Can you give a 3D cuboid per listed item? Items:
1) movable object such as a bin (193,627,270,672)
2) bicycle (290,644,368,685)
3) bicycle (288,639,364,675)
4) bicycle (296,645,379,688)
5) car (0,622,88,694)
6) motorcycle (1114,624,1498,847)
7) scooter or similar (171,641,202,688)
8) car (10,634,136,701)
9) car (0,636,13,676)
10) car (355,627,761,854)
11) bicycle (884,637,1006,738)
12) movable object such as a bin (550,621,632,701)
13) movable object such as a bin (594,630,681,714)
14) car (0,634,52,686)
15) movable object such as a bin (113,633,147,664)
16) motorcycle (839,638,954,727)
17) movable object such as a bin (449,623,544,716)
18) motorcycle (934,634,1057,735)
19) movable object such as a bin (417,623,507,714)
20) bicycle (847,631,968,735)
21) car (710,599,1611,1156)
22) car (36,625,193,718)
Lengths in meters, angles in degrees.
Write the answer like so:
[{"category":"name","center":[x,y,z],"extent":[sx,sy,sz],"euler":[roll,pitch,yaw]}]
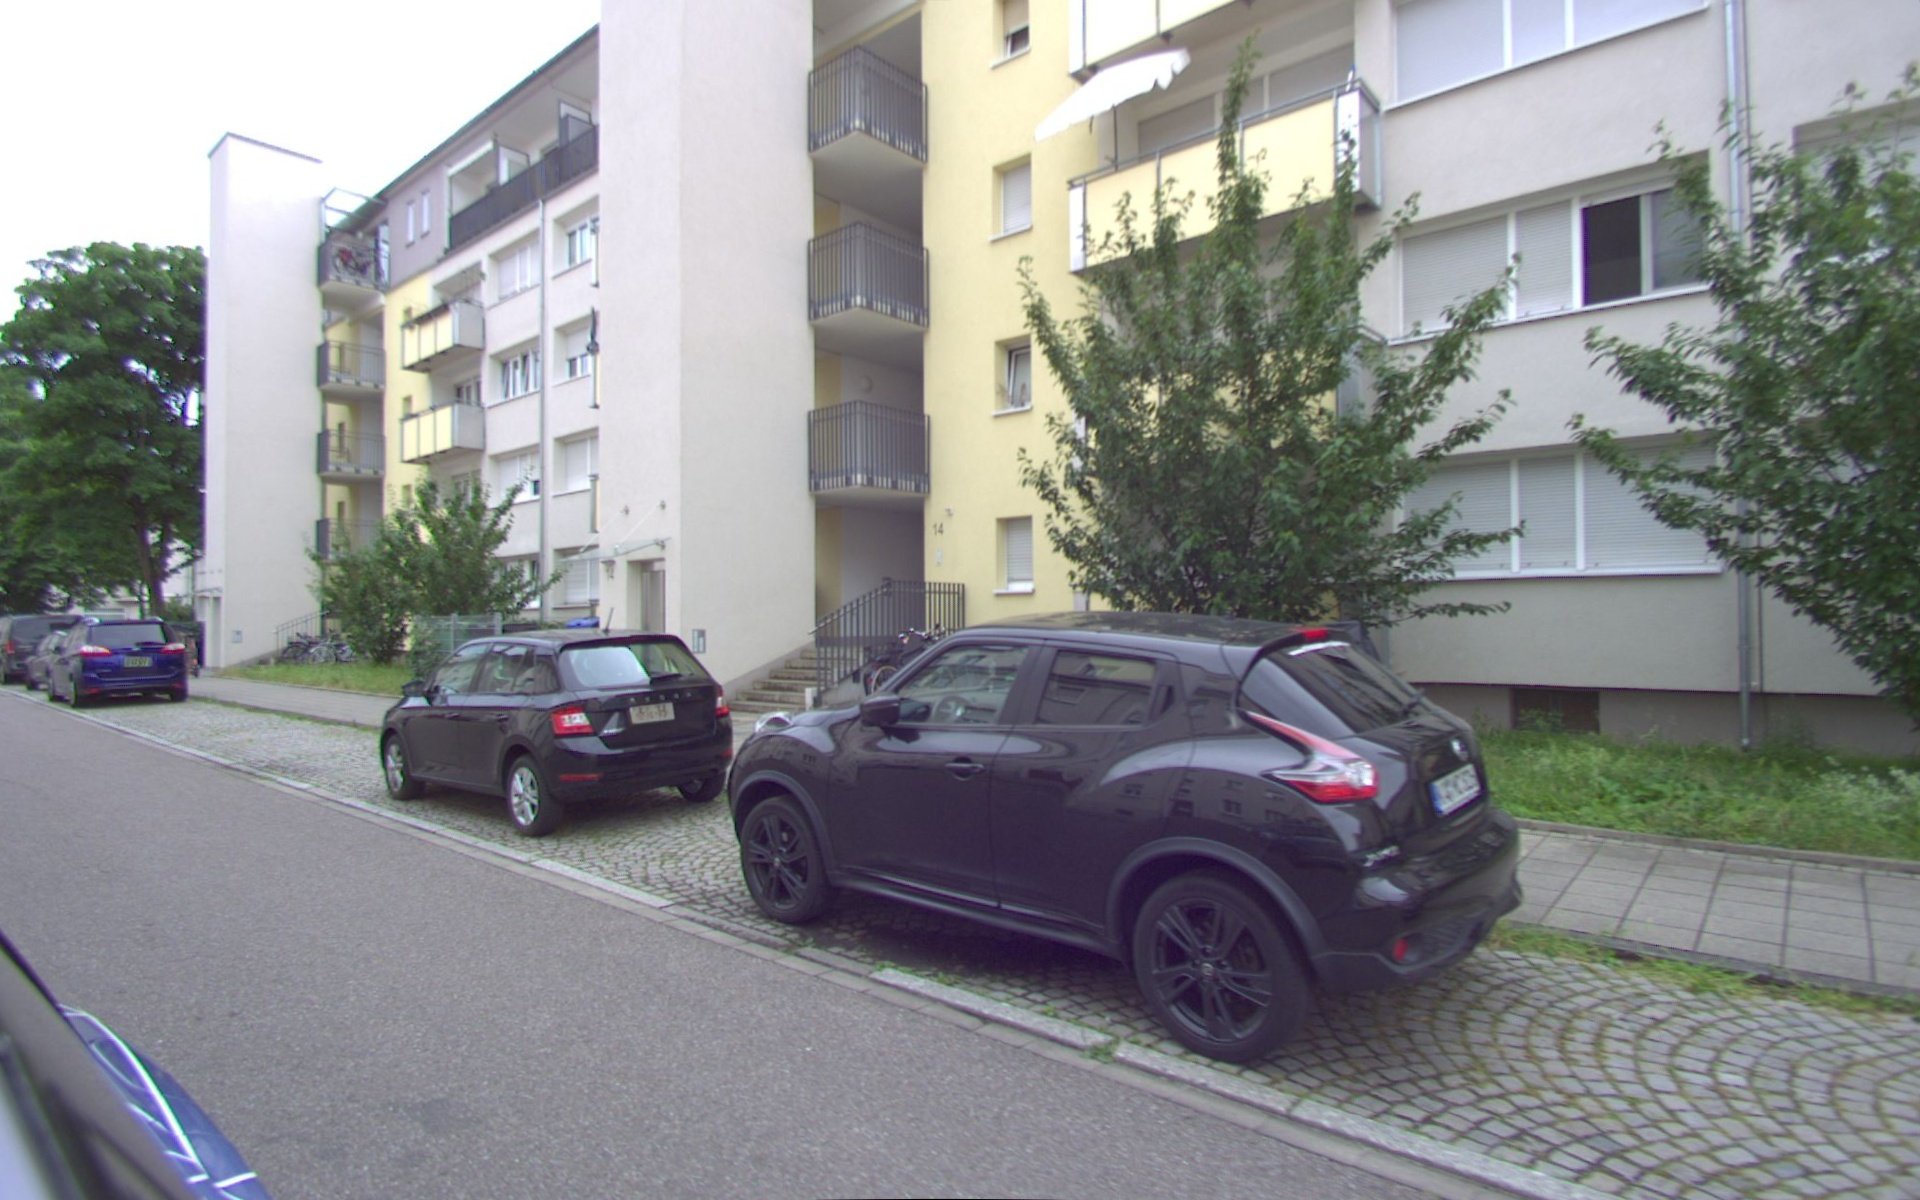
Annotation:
[{"category":"movable object such as a bin","center":[-25.653,1.732,35.638],"extent":[2.539,1.535,1.596],"euler":[-2,-3,40]},{"category":"bicycle","center":[-18.437,1.860,29.599],"extent":[1.829,1.146,0.717],"euler":[2,-3,-42]},{"category":"bicycle","center":[-18.887,1.677,30.161],"extent":[1.829,1.028,0.671],"euler":[2,-3,-42]},{"category":"bicycle","center":[-17.424,1.837,28.342],"extent":[0.715,1.146,1.834],"euler":[-2,-3,38]},{"category":"car","center":[-26.438,1.605,28.697],"extent":[4.782,1.869,1.867],"euler":[-2,-2,40]},{"category":"motorcycle","center":[2.377,0.859,7.218],"extent":[2.419,1.317,0.860],"euler":[-2,-1,41]},{"category":"scooter or similar","center":[-20.790,1.723,27.193],"extent":[1.135,1.253,0.432],"euler":[-2,-3,41]},{"category":"car","center":[-21.554,1.597,24.548],"extent":[3.813,1.456,1.605],"euler":[-2,-1,38]},{"category":"car","center":[-37.838,2.158,38.653],"extent":[4.430,1.450,1.895],"euler":[-2,0,40]},{"category":"car","center":[-3.559,0.998,8.635],"extent":[3.854,1.449,1.626],"euler":[-2,0,41]},{"category":"bicycle","center":[-0.156,1.038,12.495],"extent":[0.608,1.151,1.707],"euler":[-2,-2,36]},{"category":"movable object such as a bin","center":[-7.126,1.156,19.544],"extent":[1.314,1.458,0.991],"euler":[-2,-1,41]},{"category":"movable object such as a bin","center":[-5.922,1.284,18.566],"extent":[1.314,1.458,0.991],"euler":[-2,-1,41]},{"category":"car","center":[-30.364,1.896,32.235],"extent":[3.610,1.580,1.604],"euler":[-2,-3,40]},{"category":"movable object such as a bin","center":[-41.110,2.386,50.117],"extent":[0.889,1.487,1.168],"euler":[-2,-3,44]},{"category":"motorcycle","center":[-0.844,1.101,13.836],"extent":[0.689,1.138,1.600],"euler":[-2,-3,37]},{"category":"movable object such as a bin","center":[-7.725,1.132,16.861],"extent":[1.314,1.458,0.991],"euler":[-2,-1,41]},{"category":"motorcycle","center":[0.458,0.989,12.237],"extent":[0.593,1.138,1.732],"euler":[-2,-3,37]},{"category":"movable object such as a bin","center":[-8.779,1.171,17.834],"extent":[1.314,1.512,0.991],"euler":[-2,-1,41]},{"category":"bicycle","center":[-0.640,1.015,12.914],"extent":[0.608,1.234,1.707],"euler":[-2,-3,36]},{"category":"car","center":[0.618,0.826,4.795],"extent":[3.895,1.542,1.635],"euler":[-2,0,43]},{"category":"car","center":[-17.223,1.380,20.534],"extent":[4.469,1.639,1.781],"euler":[-2,-1,41]}]
